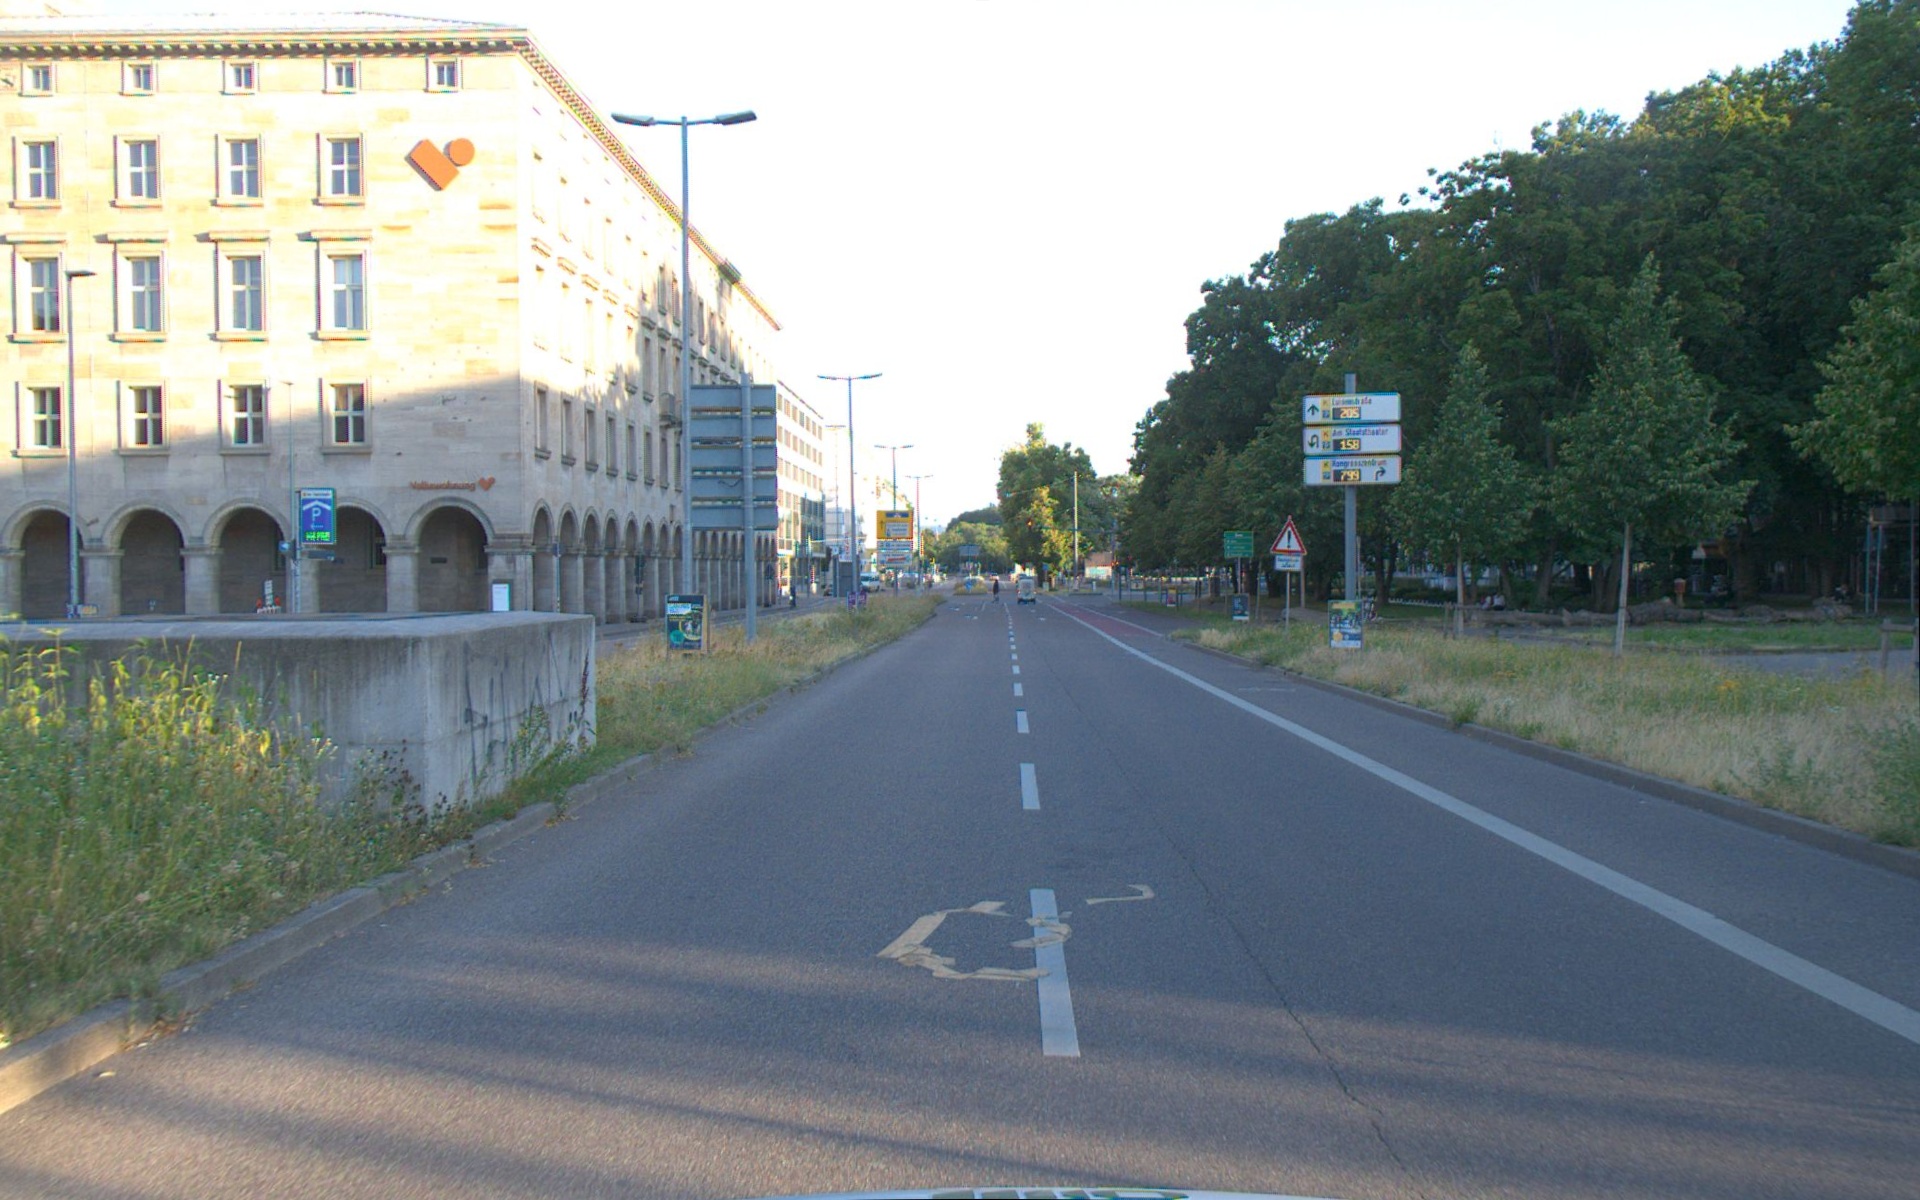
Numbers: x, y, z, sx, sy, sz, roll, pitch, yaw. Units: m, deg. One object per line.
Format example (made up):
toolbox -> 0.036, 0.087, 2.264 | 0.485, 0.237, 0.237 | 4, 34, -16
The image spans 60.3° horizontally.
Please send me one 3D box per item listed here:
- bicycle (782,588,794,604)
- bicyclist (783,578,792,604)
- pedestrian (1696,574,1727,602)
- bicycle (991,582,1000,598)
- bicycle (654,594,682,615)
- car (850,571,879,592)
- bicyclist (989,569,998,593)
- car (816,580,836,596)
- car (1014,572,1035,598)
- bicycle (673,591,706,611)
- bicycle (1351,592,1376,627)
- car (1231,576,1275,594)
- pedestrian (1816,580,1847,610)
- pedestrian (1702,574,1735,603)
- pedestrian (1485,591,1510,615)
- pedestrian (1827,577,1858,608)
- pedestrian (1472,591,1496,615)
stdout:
bicycle -> -11.607, -0.272, 111.418 | 0.530, 1.023, 2.005 | -1, 1, 1
bicyclist -> -11.611, -0.612, 111.417 | 0.525, 1.722, 0.749 | -1, 0, 1
pedestrian -> 34.616, -0.559, 76.209 | 1.108, 1.282, 0.726 | -1, 1, 3
bicycle -> 2.620, -0.742, 121.381 | 0.624, 1.087, 2.069 | 0, 1, 1
bicycle -> -14.887, 0.206, 84.361 | 0.467, 1.023, 2.006 | -1, 1, 19
car -> -12.132, -2.293, 210.481 | 2.130, 2.427, 5.994 | -1, -2, 12
bicyclist -> 2.457, -1.407, 121.192 | 0.615, 1.722, 0.748 | -1, 0, 0
car -> -14.521, -1.285, 179.388 | 1.759, 1.501, 3.999 | -1, -2, 0
car -> 4.717, -1.096, 120.563 | 1.429, 1.812, 2.566 | -1, 1, 3
bicycle -> -14.608, 0.059, 89.397 | 0.469, 1.023, 1.997 | 0, 1, 36
bicycle -> 12.780, 0.281, 52.341 | 0.484, 1.023, 1.899 | -3, 1, 20
car -> 27.911, -1.458, 157.573 | 3.903, 1.601, 2.001 | -1, 1, 4
pedestrian -> 34.551, -0.197, 65.589 | 0.771, 1.184, 0.766 | -1, 0, -5
pedestrian -> 34.503, -0.533, 75.260 | 1.108, 1.282, 0.906 | -1, 1, 3
pedestrian -> 20.864, 0.114, 64.233 | 0.669, 0.900, 0.619 | -1, 1, -22
pedestrian -> 34.547, -0.298, 64.736 | 0.771, 1.184, 0.766 | -1, 0, -5
pedestrian -> 20.551, 0.111, 64.829 | 0.670, 0.900, 0.589 | -1, 1, -24
